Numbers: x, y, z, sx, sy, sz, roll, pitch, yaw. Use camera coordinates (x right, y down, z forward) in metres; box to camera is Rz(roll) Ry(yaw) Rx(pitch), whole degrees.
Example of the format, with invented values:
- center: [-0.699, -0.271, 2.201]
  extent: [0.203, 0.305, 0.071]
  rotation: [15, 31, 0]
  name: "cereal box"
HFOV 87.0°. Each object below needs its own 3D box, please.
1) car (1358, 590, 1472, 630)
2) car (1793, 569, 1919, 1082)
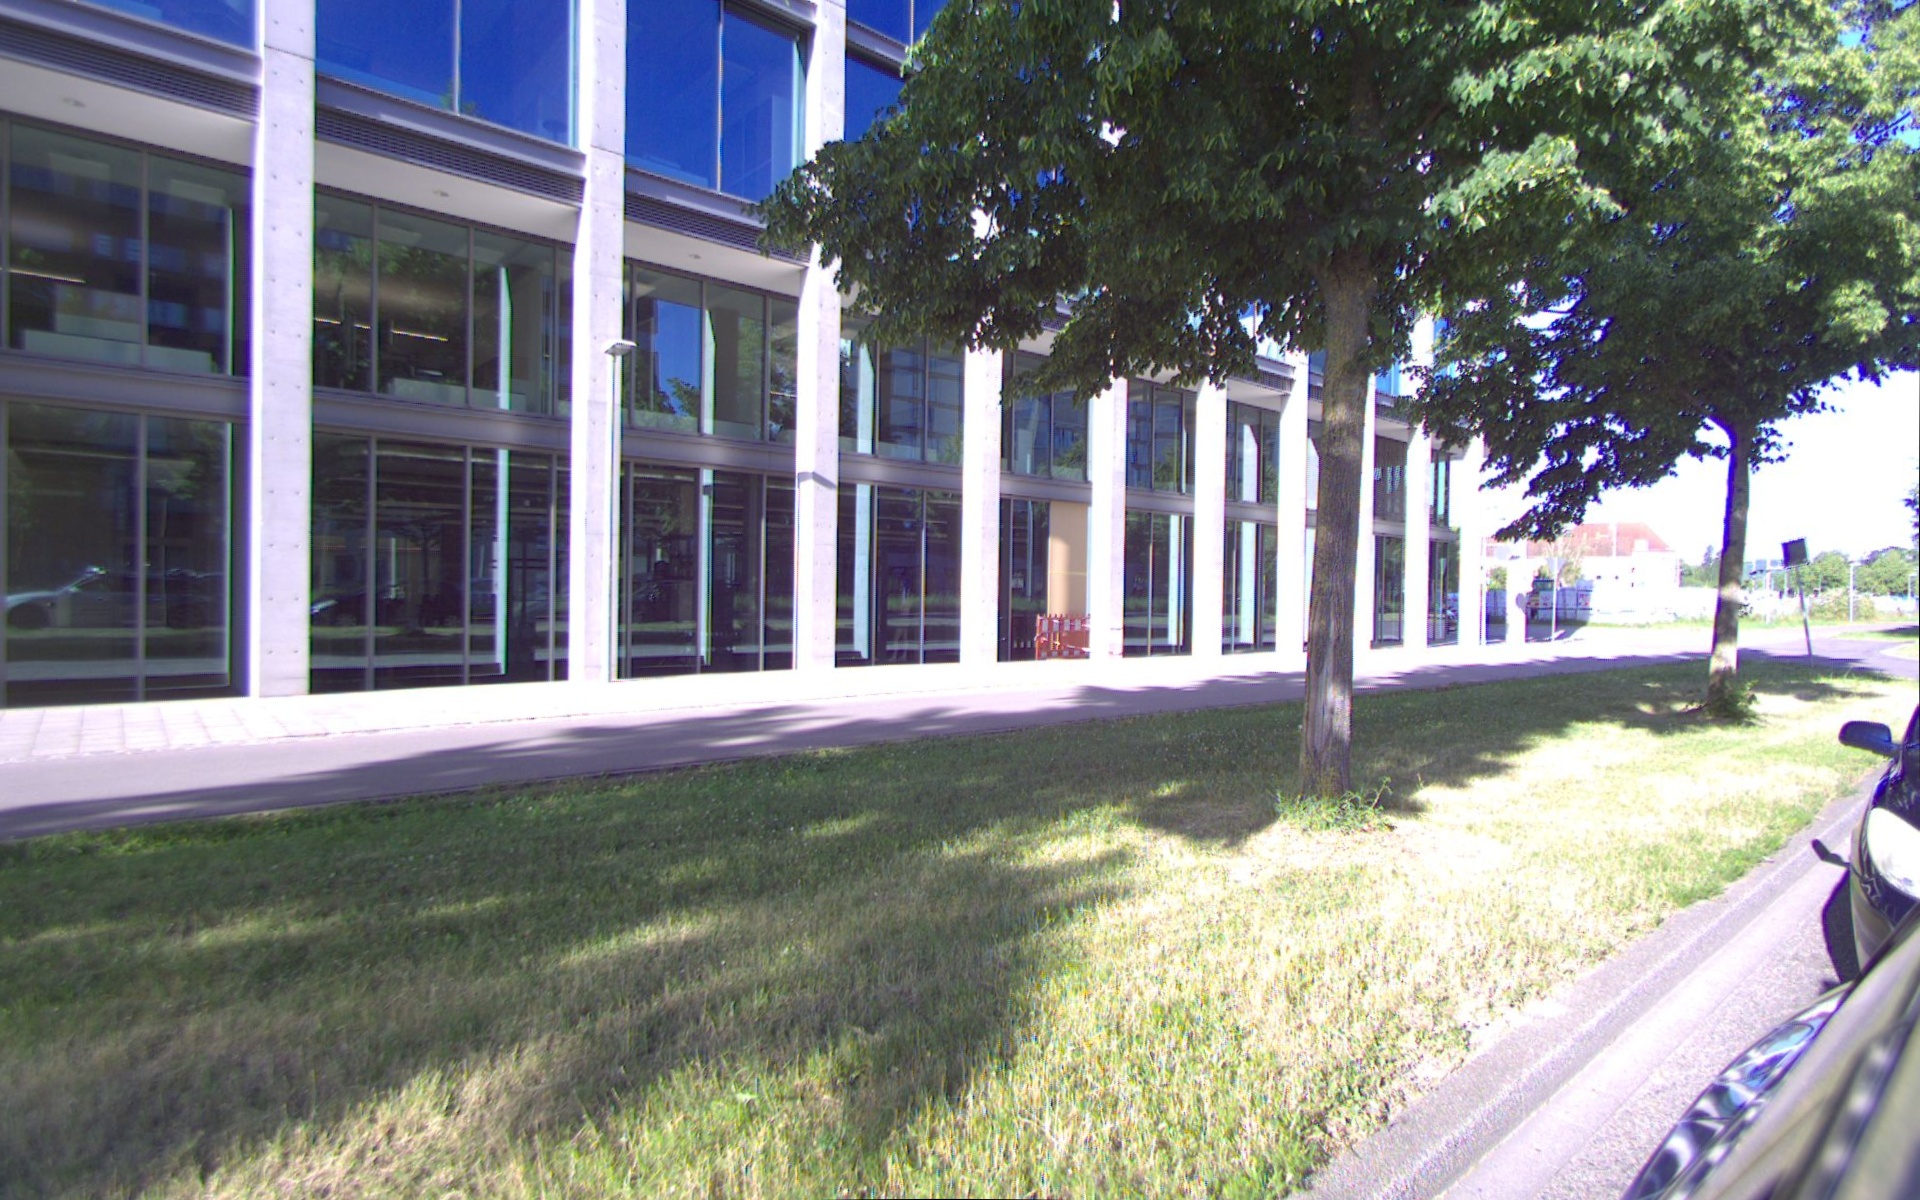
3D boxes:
- center: [19.498, 0.399, 43.486]
  extent: [1.963, 1.598, 3.997]
  rotation: [0, 1, -38]
  name: "car"
- center: [4.879, 0.667, 3.924]
  extent: [4.403, 1.500, 1.845]
  rotation: [0, 1, -41]
  name: "car"
